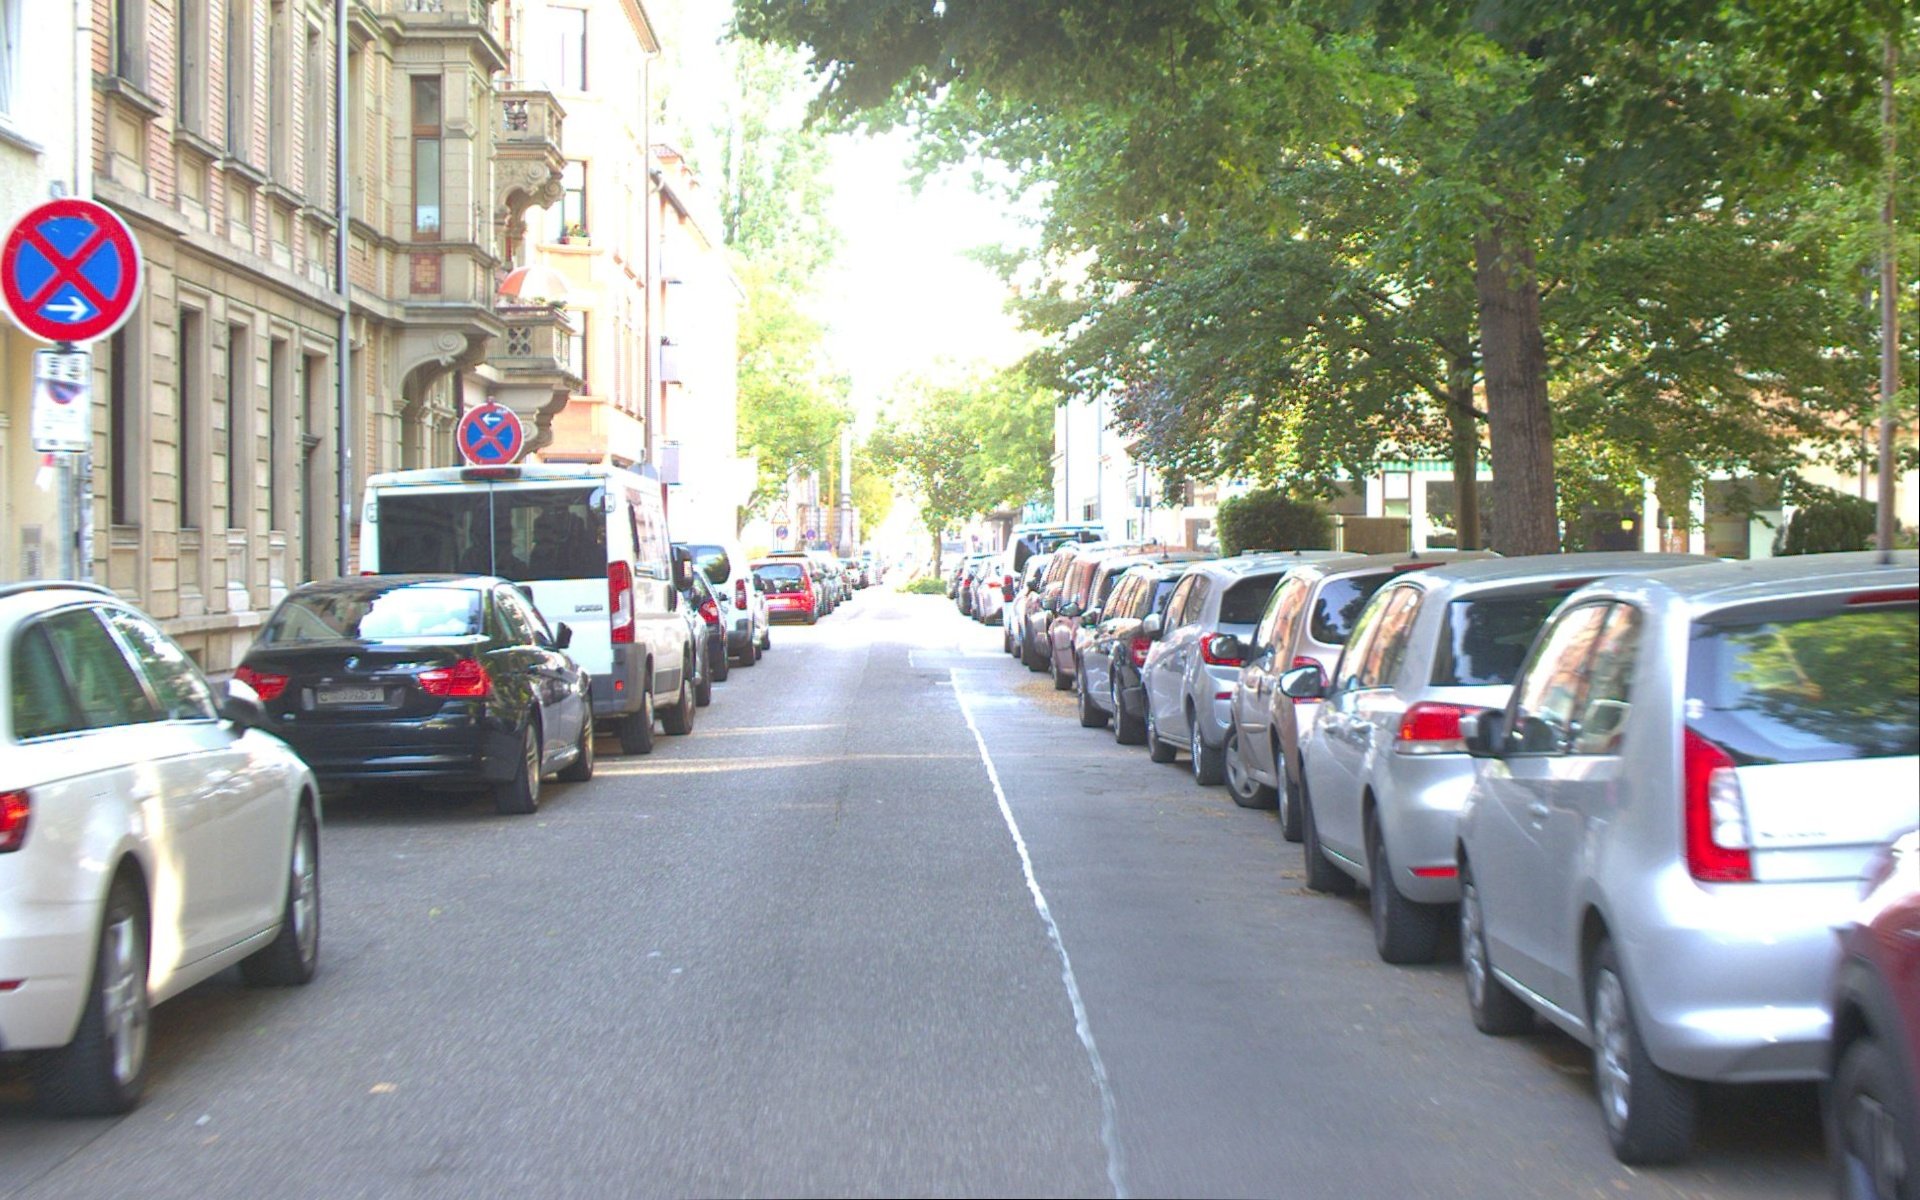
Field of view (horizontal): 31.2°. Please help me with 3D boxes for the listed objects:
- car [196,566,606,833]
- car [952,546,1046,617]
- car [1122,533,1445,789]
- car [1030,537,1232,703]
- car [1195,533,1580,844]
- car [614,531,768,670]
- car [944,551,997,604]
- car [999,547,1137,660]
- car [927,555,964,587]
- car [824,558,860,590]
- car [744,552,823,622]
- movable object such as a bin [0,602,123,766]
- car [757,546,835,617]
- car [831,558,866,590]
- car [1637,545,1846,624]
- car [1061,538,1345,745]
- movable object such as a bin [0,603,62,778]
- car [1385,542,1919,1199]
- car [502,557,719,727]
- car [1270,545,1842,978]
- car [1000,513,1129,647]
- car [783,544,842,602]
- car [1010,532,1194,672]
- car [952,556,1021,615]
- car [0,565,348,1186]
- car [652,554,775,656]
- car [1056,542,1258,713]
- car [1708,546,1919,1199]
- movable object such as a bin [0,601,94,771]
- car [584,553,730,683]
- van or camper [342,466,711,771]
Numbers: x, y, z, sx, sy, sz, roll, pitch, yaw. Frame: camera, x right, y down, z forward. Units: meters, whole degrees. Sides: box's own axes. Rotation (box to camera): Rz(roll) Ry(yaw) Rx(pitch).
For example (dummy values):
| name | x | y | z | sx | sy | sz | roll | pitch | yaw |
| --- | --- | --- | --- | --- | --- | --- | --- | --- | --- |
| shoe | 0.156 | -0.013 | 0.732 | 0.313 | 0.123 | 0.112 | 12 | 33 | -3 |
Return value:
| name | x | y | z | sx | sy | sz | roll | pitch | yaw |
| --- | --- | --- | --- | --- | --- | --- | --- | --- | --- |
| car | -3.312 | 0.529 | 21.172 | 1.731 | 1.397 | 4.315 | -2 | 1 | 1 |
| car | 0.848 | -0.429 | 77.112 | 1.743 | 1.501 | 4.358 | -2 | 1 | -3 |
| car | 2.142 | 0.385 | 23.636 | 1.599 | 1.500 | 3.628 | -5 | 0 | -3 |
| car | 1.842 | 0.214 | 38.104 | 1.618 | 1.619 | 3.864 | -5 | 0 | -5 |
| car | 2.307 | 0.446 | 19.366 | 1.599 | 1.463 | 3.564 | -5 | 0 | 0 |
| car | -3.736 | -0.024 | 48.406 | 1.831 | 1.805 | 4.572 | -2 | 1 | -1 |
| car | 0.368 | -0.725 | 114.241 | 1.676 | 1.676 | 4.094 | -2 | 0 | 0 |
| car | 1.520 | 0.028 | 49.616 | 1.719 | 1.565 | 3.829 | 0 | 1 | -2 |
| car | -0.729 | -1.443 | 167.543 | 1.675 | 1.482 | 3.638 | -2 | 1 | -1 |
| car | -5.682 | -1.269 | 166.142 | 1.675 | 1.482 | 4.095 | -2 | 1 | -1 |
| car | -3.967 | -0.309 | 77.613 | 1.628 | 1.476 | 3.601 | -2 | 1 | -1 |
| movable object such as a bin | -6.111 | 0.556 | 23.060 | 0.800 | 1.084 | 0.666 | 0 | -1 | 3 |
| car | -4.403 | -0.511 | 92.724 | 1.743 | 1.805 | 4.672 | -2 | 1 | 1 |
| car | -5.546 | -1.312 | 171.218 | 1.675 | 1.482 | 4.095 | -2 | 1 | -1 |
| car | 15.452 | -0.305 | 68.103 | 3.855 | 1.468 | 1.633 | 1 | -1 | 6 |
| car | 1.908 | 0.313 | 28.324 | 1.675 | 1.436 | 4.696 | -5 | 0 | -3 |
| movable object such as a bin | -6.152 | 0.561 | 21.584 | 0.836 | 1.084 | 0.675 | 0 | -1 | 3 |
| car | 2.304 | 0.632 | 9.784 | 1.599 | 1.500 | 3.720 | -5 | 0 | 0 |
| car | -3.376 | 0.360 | 33.845 | 1.766 | 1.509 | 4.193 | -2 | 1 | -2 |
| car | 2.281 | 0.563 | 14.089 | 1.599 | 1.465 | 3.869 | -2 | 0 | 0 |
| car | 1.648 | -0.342 | 54.912 | 1.914 | 1.991 | 4.792 | -2 | 1 | 1 |
| car | -4.785 | -0.896 | 111.883 | 1.765 | 1.779 | 4.039 | -2 | 1 | -1 |
| car | 1.786 | 0.027 | 44.580 | 1.739 | 1.597 | 4.265 | -5 | 0 | -5 |
| car | 0.700 | -0.410 | 92.200 | 1.675 | 1.501 | 3.938 | -2 | 1 | -1 |
| car | -3.114 | 0.660 | 10.402 | 1.731 | 1.451 | 4.521 | -2 | 1 | -1 |
| car | -3.822 | 0.053 | 53.843 | 1.692 | 1.476 | 3.973 | -2 | 1 | -1 |
| car | 1.904 | 0.253 | 34.127 | 1.619 | 1.481 | 3.776 | -5 | 0 | -1 |
| car | 2.311 | 0.660 | 4.633 | 1.664 | 1.580 | 4.100 | -5 | 0 | 1 |
| movable object such as a bin | -6.121 | 0.553 | 22.316 | 0.800 | 1.084 | 0.666 | 0 | -1 | 3 |
| car | -3.793 | 0.190 | 43.575 | 1.692 | 1.509 | 3.974 | -2 | 1 | -4 |
| van or camper | -3.332 | 0.095 | 27.536 | 2.177 | 2.140 | 5.154 | -2 | 1 | 1 |
